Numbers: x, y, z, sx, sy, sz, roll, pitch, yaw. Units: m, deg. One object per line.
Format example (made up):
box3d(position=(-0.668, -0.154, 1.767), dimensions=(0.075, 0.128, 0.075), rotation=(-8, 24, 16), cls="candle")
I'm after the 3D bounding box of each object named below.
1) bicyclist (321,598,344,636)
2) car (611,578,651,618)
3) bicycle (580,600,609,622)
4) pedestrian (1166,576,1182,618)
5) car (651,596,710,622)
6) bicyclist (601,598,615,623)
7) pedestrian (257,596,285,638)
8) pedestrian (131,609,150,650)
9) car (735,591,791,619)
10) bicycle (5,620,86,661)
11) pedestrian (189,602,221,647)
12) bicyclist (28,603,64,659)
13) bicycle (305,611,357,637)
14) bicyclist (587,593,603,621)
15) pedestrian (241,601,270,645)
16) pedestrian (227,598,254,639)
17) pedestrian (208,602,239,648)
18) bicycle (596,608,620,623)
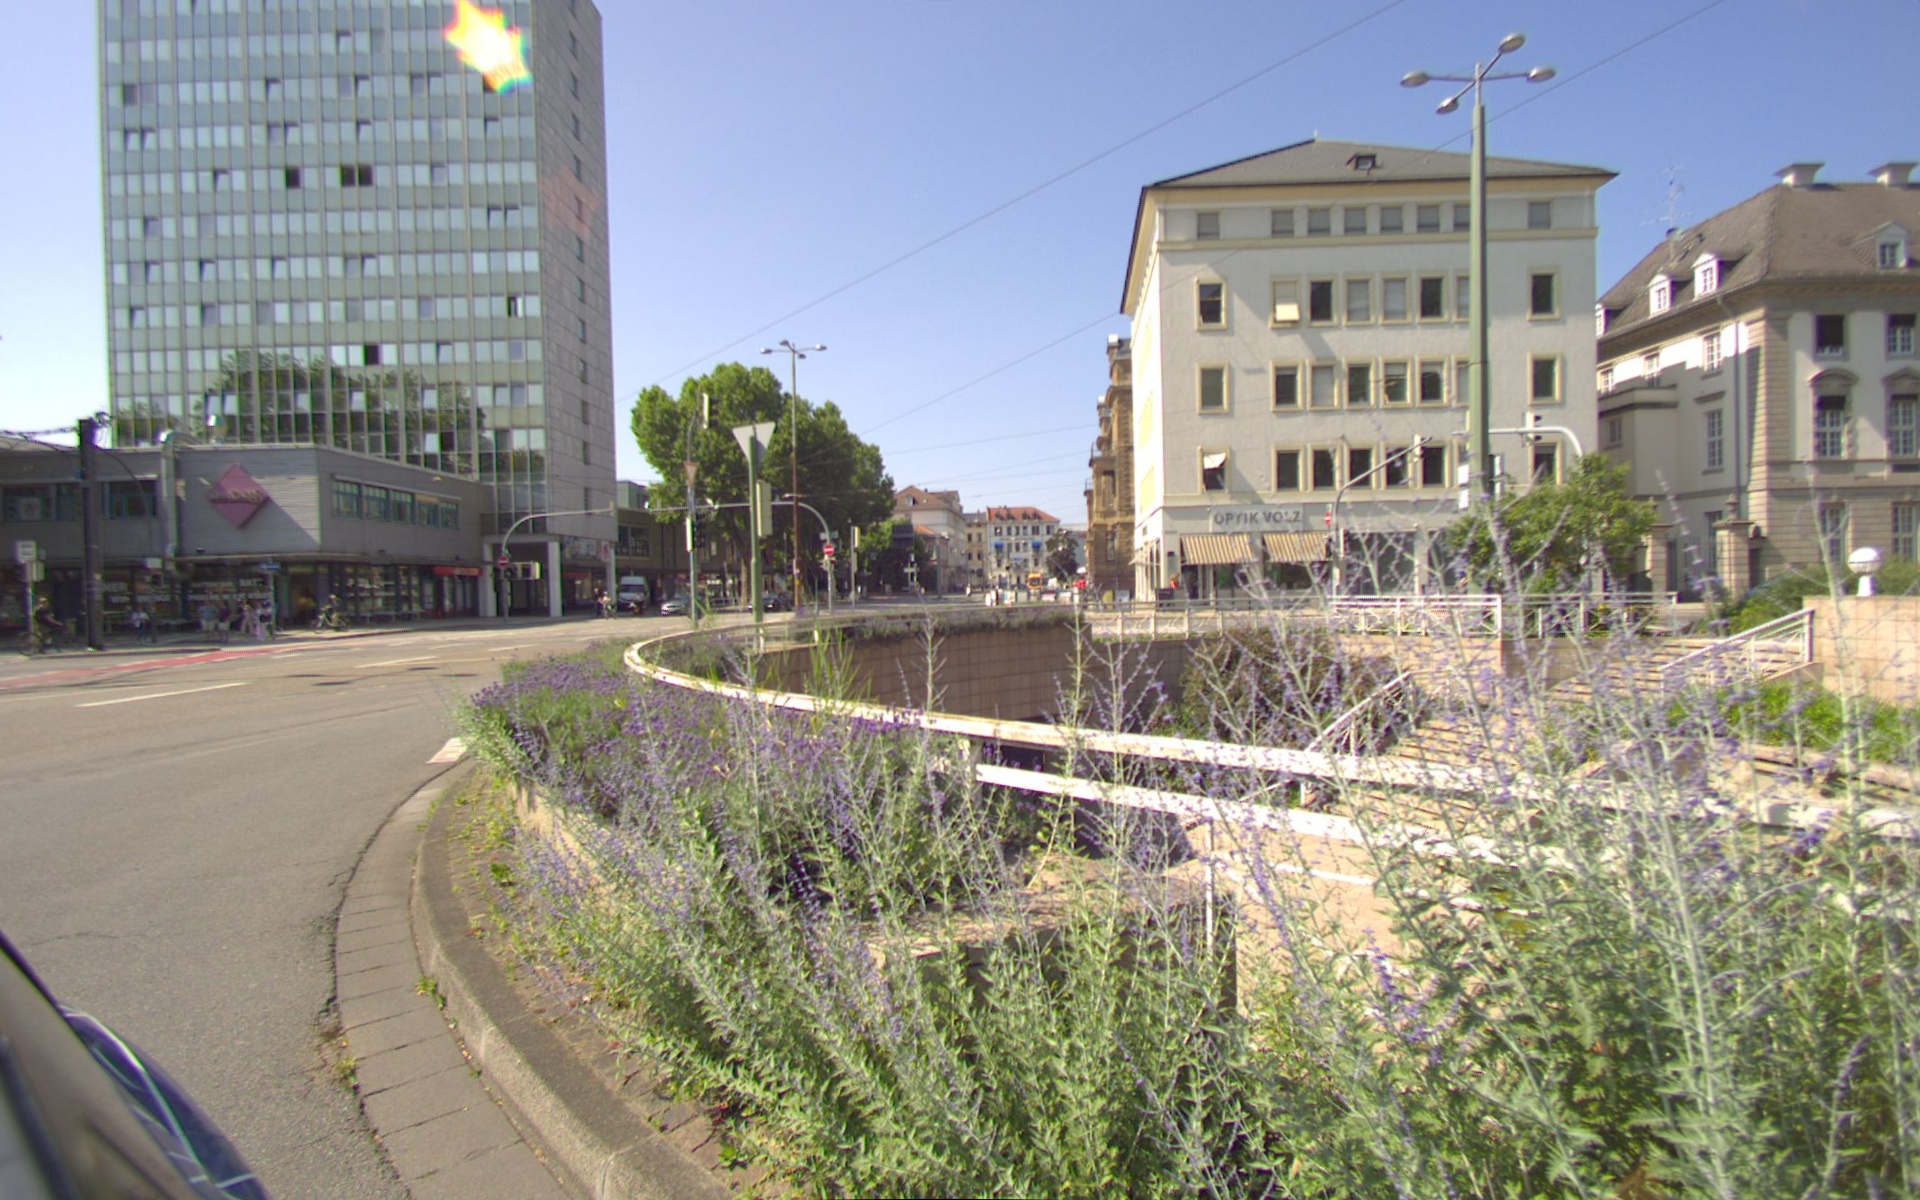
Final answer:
box3d(position=(-28.557, 0.778, 46.044), dimensions=(0.581, 1.700, 0.677), rotation=(-1, 1, 30), cls="bicyclist")
box3d(position=(-25.188, -0.178, 77.698), dimensions=(1.722, 2.938, 4.639), rotation=(-2, 1, -3), cls="car")
box3d(position=(-23.085, 0.680, 63.980), dimensions=(0.710, 1.309, 1.929), rotation=(0, 1, 16), cls="bicycle")
box3d(position=(9.161, -0.135, 43.382), dimensions=(0.635, 1.772, 0.592), rotation=(-1, 0, 15), cls="pedestrian")
box3d(position=(-17.833, 0.549, 64.740), dimensions=(1.864, 1.471, 4.147), rotation=(-1, 1, 13), cls="car")
box3d(position=(-21.666, 0.634, 62.254), dimensions=(0.576, 1.538, 0.682), rotation=(0, 1, 11), cls="bicyclist")
box3d(position=(-30.754, 0.767, 45.154), dimensions=(0.669, 1.850, 0.815), rotation=(-1, 0, 31), cls="pedestrian")
box3d(position=(-34.133, 1.223, 42.156), dimensions=(0.590, 1.650, 0.567), rotation=(-1, 0, -35), cls="pedestrian")
box3d(position=(-12.024, 0.286, 61.880), dimensions=(1.864, 1.545, 4.062), rotation=(-1, 1, 13), cls="car")
box3d(position=(-28.437, 1.242, 31.507), dimensions=(0.519, 1.175, 1.800), rotation=(-1, 0, 27), cls="bicycle")
box3d(position=(-31.503, 1.026, 42.216), dimensions=(0.724, 1.850, 0.824), rotation=(-1, 0, -1), cls="pedestrian")
box3d(position=(-28.447, 0.957, 31.501), dimensions=(0.519, 1.719, 0.678), rotation=(-1, 0, 27), cls="bicyclist")
box3d(position=(-28.569, 1.078, 46.026), dimensions=(0.574, 1.110, 1.949), rotation=(-1, 1, 29), cls="bicycle")
box3d(position=(-23.078, 0.447, 64.025), dimensions=(0.691, 1.781, 0.680), rotation=(0, 1, 17), cls="bicyclist")
box3d(position=(-29.857, 0.969, 42.901), dimensions=(0.661, 1.850, 0.824), rotation=(-1, 0, -1), cls="pedestrian")
box3d(position=(-32.607, 0.817, 45.846), dimensions=(0.670, 1.820, 0.814), rotation=(-1, 0, 35), cls="pedestrian")
box3d(position=(-30.637, 1.034, 42.102), dimensions=(0.662, 1.850, 0.824), rotation=(-1, 0, -1), cls="pedestrian")
box3d(position=(-21.656, 0.958, 62.300), dimensions=(0.586, 0.889, 1.805), rotation=(0, 1, 10), cls="bicycle")
